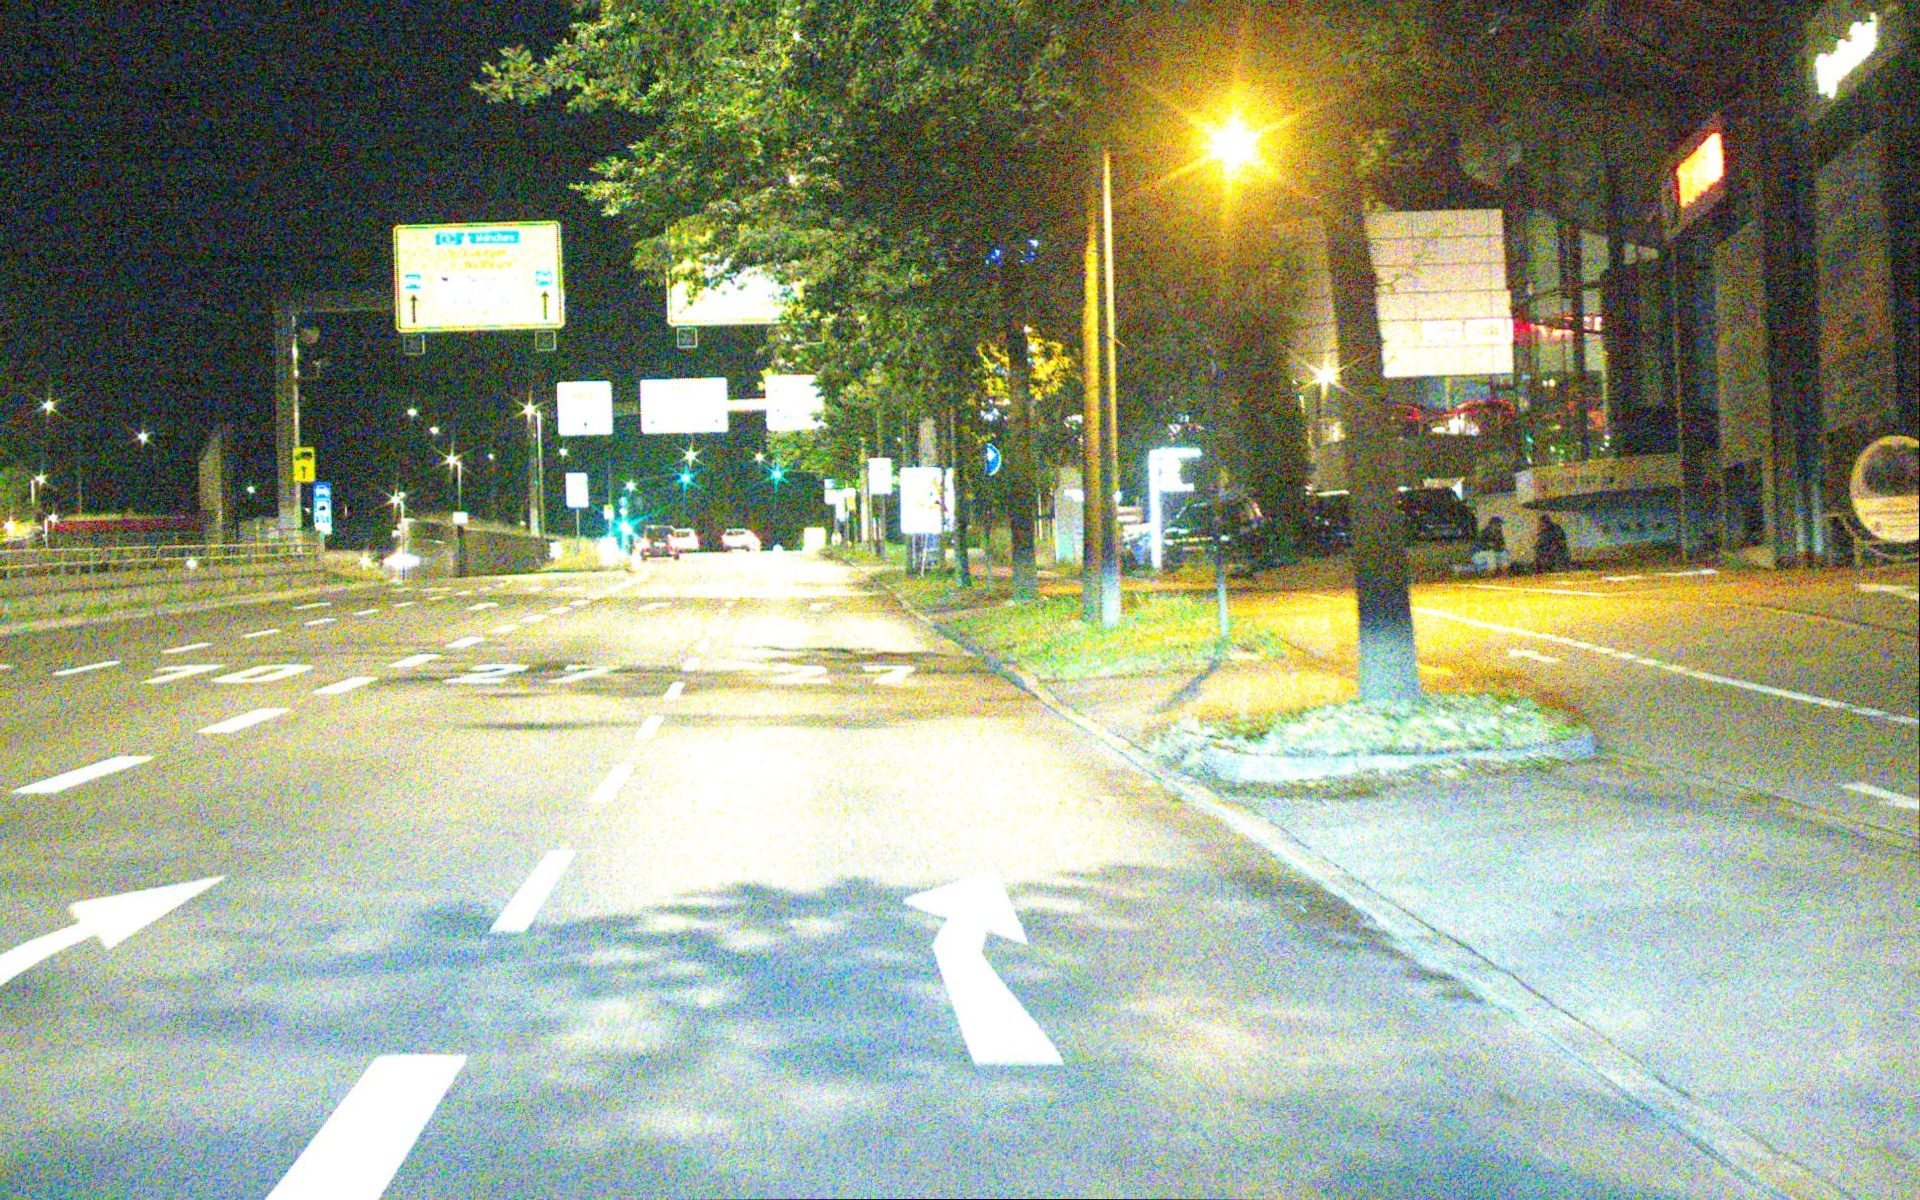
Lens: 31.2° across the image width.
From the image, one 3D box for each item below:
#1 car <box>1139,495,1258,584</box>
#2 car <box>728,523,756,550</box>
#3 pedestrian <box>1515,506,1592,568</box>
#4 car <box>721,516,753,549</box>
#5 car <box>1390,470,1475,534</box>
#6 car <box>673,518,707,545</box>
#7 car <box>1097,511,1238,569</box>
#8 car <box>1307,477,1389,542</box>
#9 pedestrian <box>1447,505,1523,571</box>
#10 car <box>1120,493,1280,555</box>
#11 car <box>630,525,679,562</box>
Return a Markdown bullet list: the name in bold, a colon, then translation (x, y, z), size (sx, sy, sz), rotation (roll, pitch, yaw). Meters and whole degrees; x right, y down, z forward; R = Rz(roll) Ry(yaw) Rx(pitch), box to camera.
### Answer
- **car**: translation (5.460, -1.349, 78.226), size (1.995, 1.938, 3.997), rotation (0, 0, 15)
- **car**: translation (-14.442, -4.182, 227.726), size (1.780, 1.722, 4.000), rotation (0, 0, -3)
- **pedestrian**: translation (9.683, -1.022, 56.099), size (0.997, 1.004, 0.772), rotation (0, 0, -18)
- **car**: translation (-14.137, -4.259, 218.241), size (1.993, 2.007, 4.000), rotation (0, 0, -3)
- **car**: translation (11.876, -2.449, 86.614), size (1.893, 1.506, 3.635), rotation (0, 0, 4)
- **car**: translation (-17.498, -4.424, 222.815), size (1.993, 1.590, 4.000), rotation (-2, 0, -3)
- **car**: translation (5.502, -1.580, 91.459), size (3.510, 1.503, 1.736), rotation (0, 0, -6)
- **car**: translation (9.592, -2.219, 85.164), size (1.893, 1.506, 3.635), rotation (0, 0, 4)
- **pedestrian**: translation (8.541, -1.004, 55.948), size (0.913, 1.035, 0.770), rotation (-2, 1, 41)
- **car**: translation (5.819, -1.837, 83.540), size (3.623, 1.446, 1.708), rotation (0, 0, -6)
- **car**: translation (-14.454, -2.656, 162.864), size (1.968, 1.705, 4.000), rotation (0, 0, 0)
